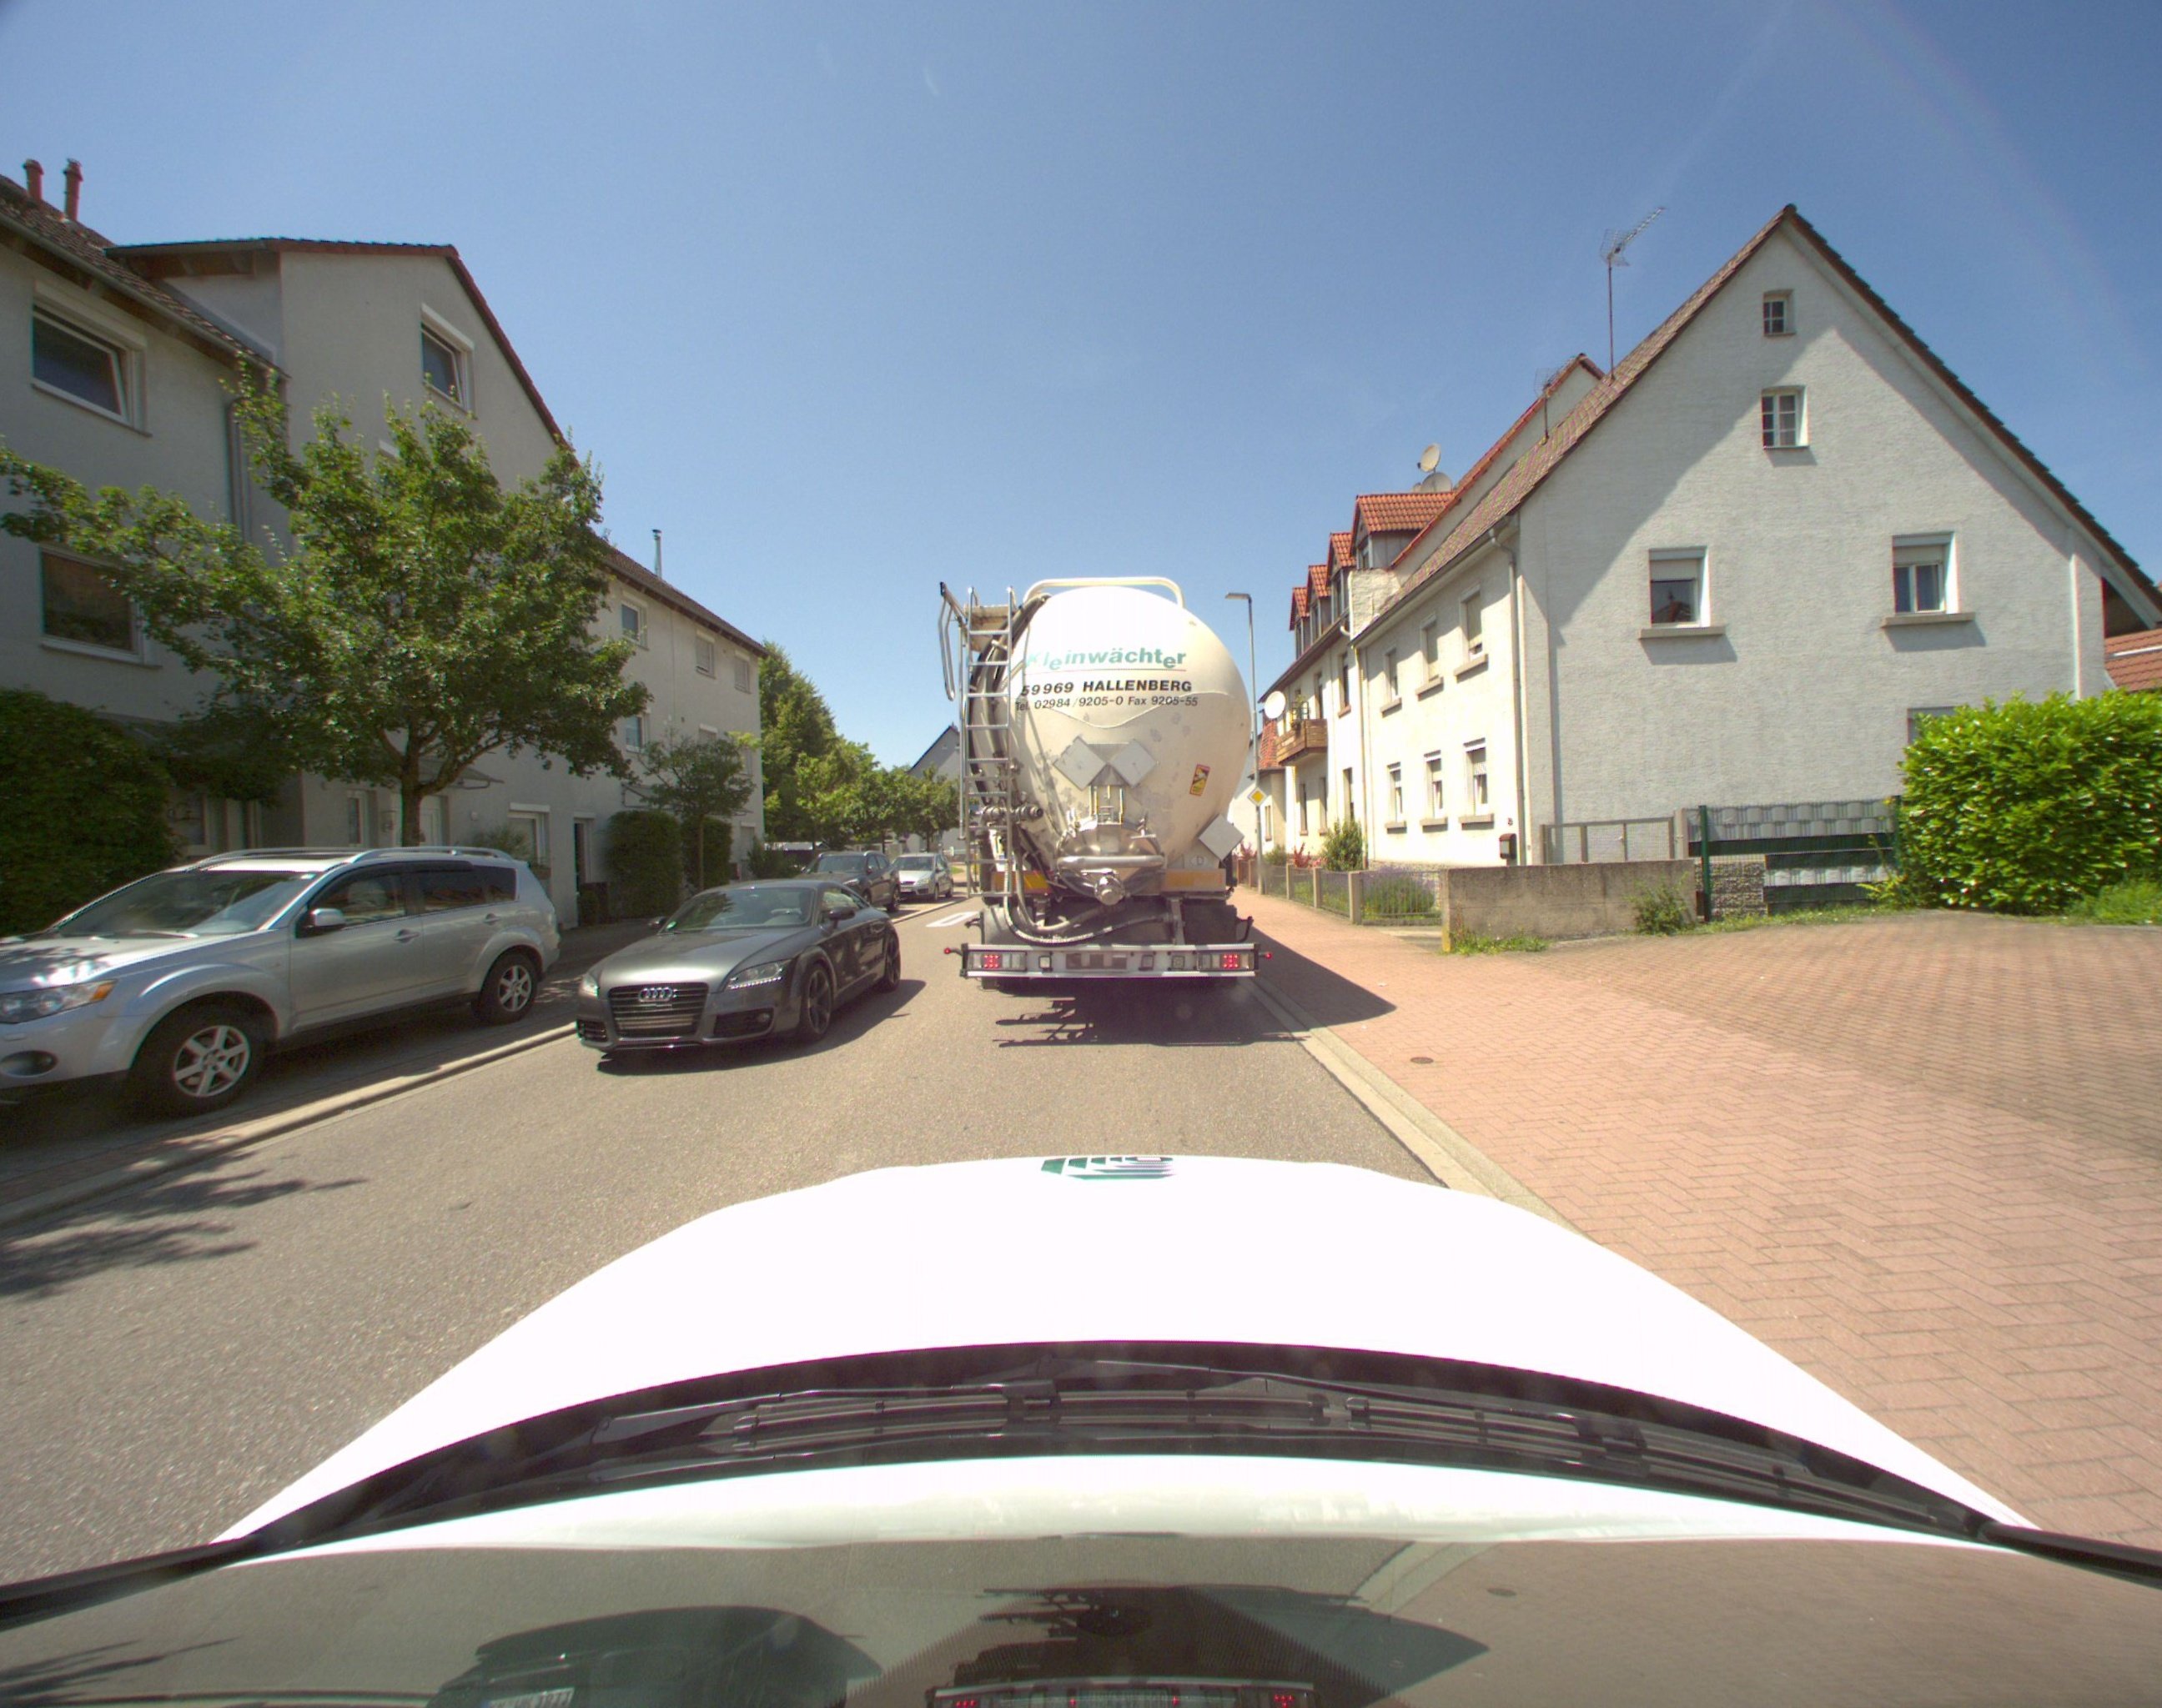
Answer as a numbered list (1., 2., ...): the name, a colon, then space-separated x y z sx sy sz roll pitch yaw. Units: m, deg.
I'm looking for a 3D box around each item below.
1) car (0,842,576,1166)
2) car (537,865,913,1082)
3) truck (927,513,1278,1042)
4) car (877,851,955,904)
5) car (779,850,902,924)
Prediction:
1. car: -6.334 0.780 6.508 1.700 1.686 4.526 -1 0 1
2. car: -2.957 0.886 7.789 1.700 1.370 3.870 -4 0 2
3. truck: 0.337 -0.612 11.050 2.631 4.015 9.566 -1 0 2
4. car: -5.375 0.725 26.916 1.691 1.580 3.839 -1 0 1
5. car: -5.823 0.739 20.228 1.685 1.620 4.000 -1 0 2
